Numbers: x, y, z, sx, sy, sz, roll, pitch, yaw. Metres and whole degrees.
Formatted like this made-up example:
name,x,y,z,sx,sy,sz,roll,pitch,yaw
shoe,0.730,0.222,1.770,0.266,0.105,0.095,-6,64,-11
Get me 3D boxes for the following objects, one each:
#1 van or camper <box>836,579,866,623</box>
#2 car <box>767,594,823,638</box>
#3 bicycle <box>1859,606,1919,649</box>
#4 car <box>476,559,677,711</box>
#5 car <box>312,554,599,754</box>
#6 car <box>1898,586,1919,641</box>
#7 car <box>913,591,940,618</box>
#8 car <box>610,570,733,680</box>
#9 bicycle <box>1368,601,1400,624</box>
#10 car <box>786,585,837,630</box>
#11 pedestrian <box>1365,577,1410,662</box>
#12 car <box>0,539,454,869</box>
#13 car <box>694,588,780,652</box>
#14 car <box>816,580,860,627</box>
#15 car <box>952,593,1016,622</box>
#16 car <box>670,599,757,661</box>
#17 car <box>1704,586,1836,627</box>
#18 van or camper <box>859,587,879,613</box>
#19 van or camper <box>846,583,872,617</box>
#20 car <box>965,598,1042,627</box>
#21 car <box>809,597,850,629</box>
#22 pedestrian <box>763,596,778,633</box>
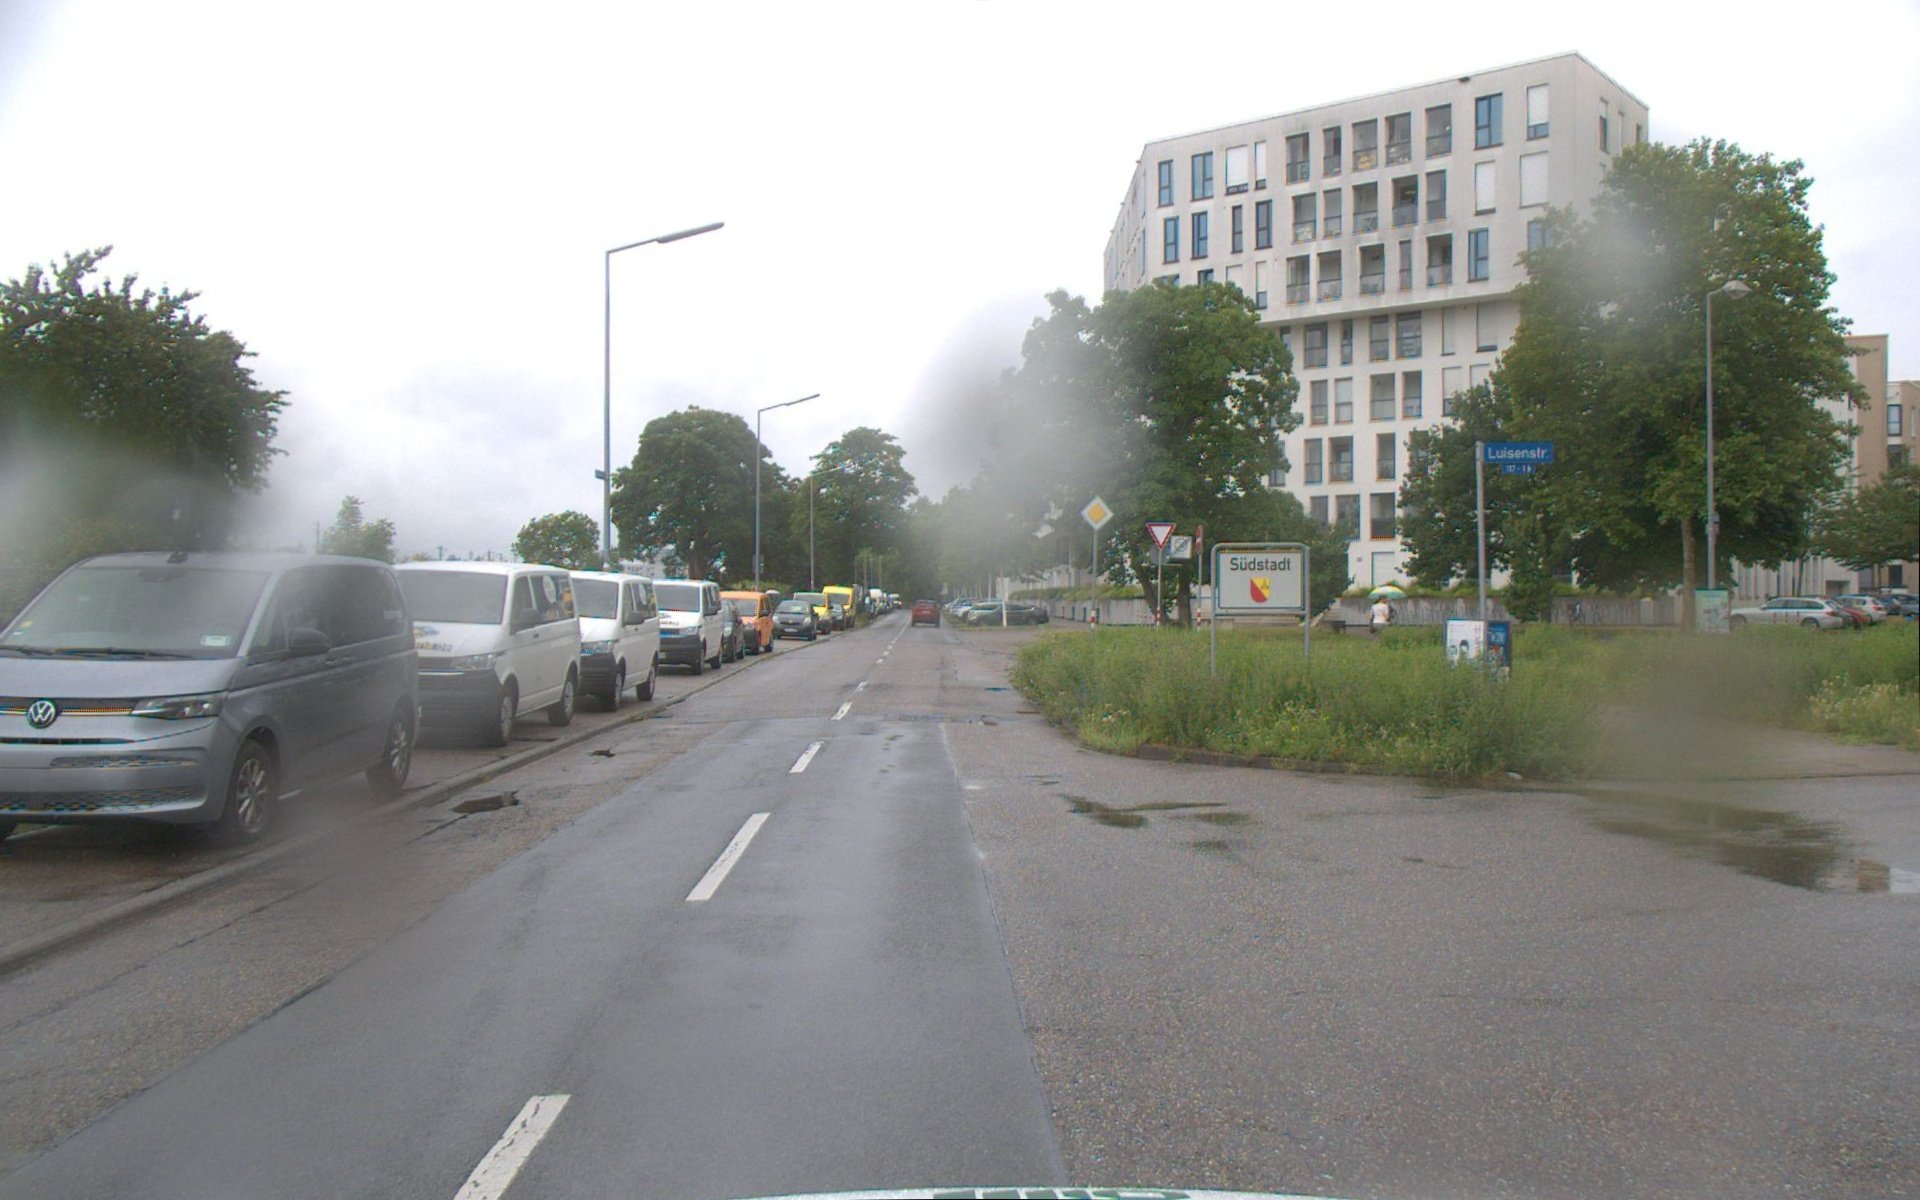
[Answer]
name,x,y,z,sx,sy,sz,roll,pitch,yaw
van or camper,-8.314,0.093,126.618,2.052,3.148,6.420,2,-1,-2
car,-6.481,0.603,65.306,1.767,1.588,4.032,3,0,-1
bicycle,24.961,0.715,43.272,2.438,1.106,0.722,0,0,40
car,-5.793,0.479,25.673,1.920,2.094,5.273,1,0,-1
car,-5.740,0.544,19.586,1.856,2.049,5.257,0,0,-1
car,28.900,0.423,48.709,1.701,1.575,4.103,0,-1,37
car,-2.174,0.269,106.731,1.720,1.735,3.999,0,0,-1
car,-6.331,0.501,36.911,1.903,2.275,5.556,0,0,-2
bicycle,20.022,0.574,78.104,0.711,1.051,2.064,-1,0,38
car,-6.978,0.371,78.165,1.976,1.990,6.063,2,0,-2
pedestrian,10.469,0.476,40.529,0.946,2.049,0.622,0,0,-1
car,-5.429,0.607,12.223,1.916,1.935,4.993,0,0,-1
car,-6.491,0.555,48.505,1.900,1.798,4.331,0,0,0
car,-7.539,0.233,102.471,2.147,2.741,6.081,2,0,0
car,1.737,0.557,120.727,4.451,1.714,1.884,-5,0,-4
car,-6.381,0.739,43.243,1.649,1.528,4.890,0,0,-2
car,34.056,0.254,69.579,4.746,1.533,1.616,2,1,40
van or camper,-10.429,0.029,190.973,1.953,2.810,7.896,1,0,-1
van or camper,-8.702,0.020,142.898,2.053,2.763,7.569,2,-1,-3
car,2.552,0.730,97.842,4.397,1.507,1.691,-3,0,-2
car,-7.096,0.719,90.460,1.954,1.622,5.015,2,-1,-2
pedestrian,-10.778,0.810,93.989,0.727,2.049,0.980,1,0,-1
